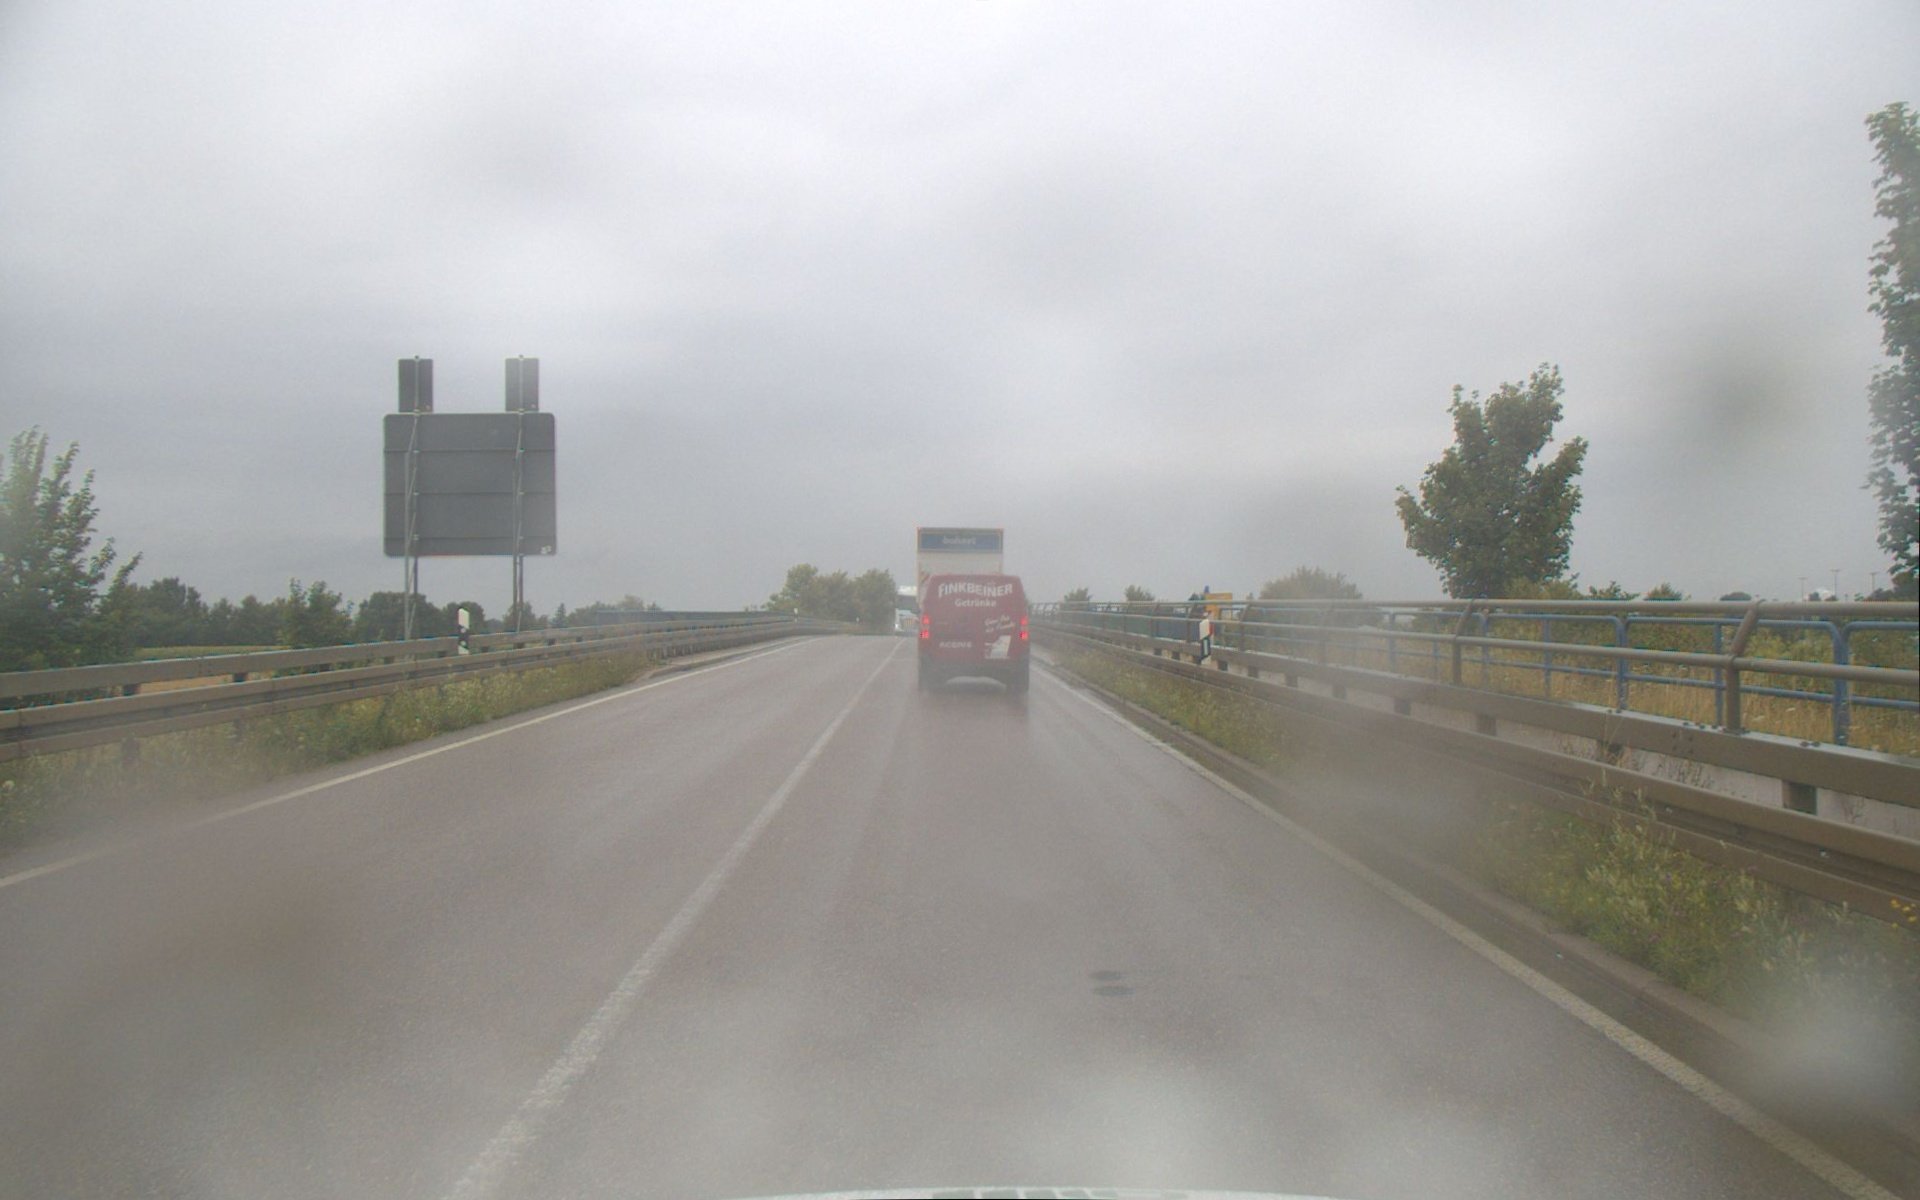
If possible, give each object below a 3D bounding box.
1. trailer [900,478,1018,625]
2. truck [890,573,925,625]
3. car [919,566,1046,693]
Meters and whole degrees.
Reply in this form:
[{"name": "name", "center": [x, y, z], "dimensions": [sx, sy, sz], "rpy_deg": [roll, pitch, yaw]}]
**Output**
[{"name": "trailer", "center": [0.020, -1.316, 51.197], "dimensions": [3.136, 3.990, 8.739], "rpy_deg": [3, -1, 1]}, {"name": "truck", "center": [-4.203, -0.025, 133.540], "dimensions": [2.761, 4.040, 8.760], "rpy_deg": [0, 0, -2]}, {"name": "car", "center": [0.299, 0.444, 28.008], "dimensions": [1.953, 1.959, 4.142], "rpy_deg": [1, 0, -2]}]
